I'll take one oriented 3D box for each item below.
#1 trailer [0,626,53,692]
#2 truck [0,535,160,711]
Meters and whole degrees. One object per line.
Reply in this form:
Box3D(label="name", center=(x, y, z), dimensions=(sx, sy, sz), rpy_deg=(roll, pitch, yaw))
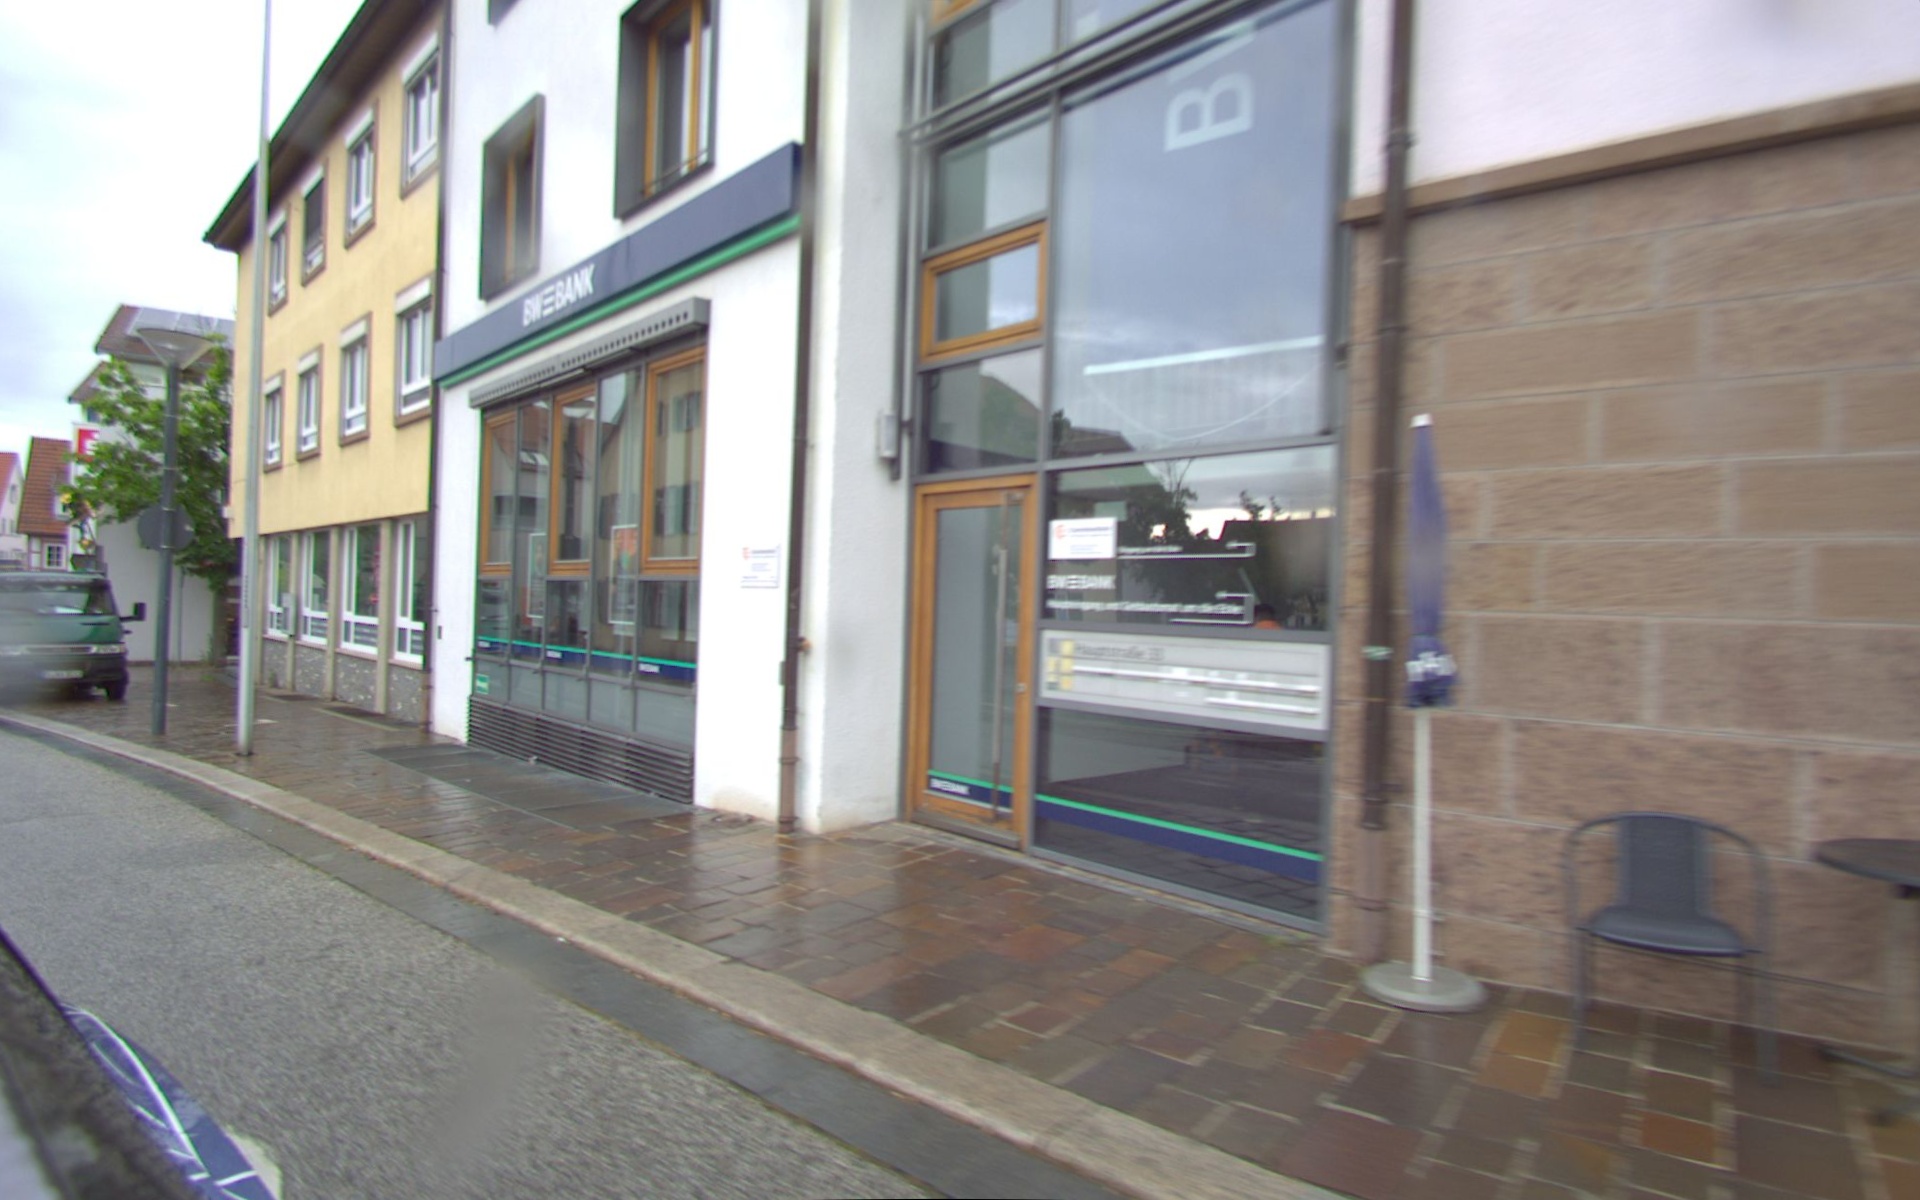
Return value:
Box3D(label="trailer", center=(-21.176, 1.262, 21.955), dimensions=(3.157, 1.357, 1.711), rpy_deg=(-2, -4, 39))
Box3D(label="truck", center=(-17.438, 0.483, 18.914), dimensions=(6.592, 2.816, 2.449), rpy_deg=(-2, -4, 39))
